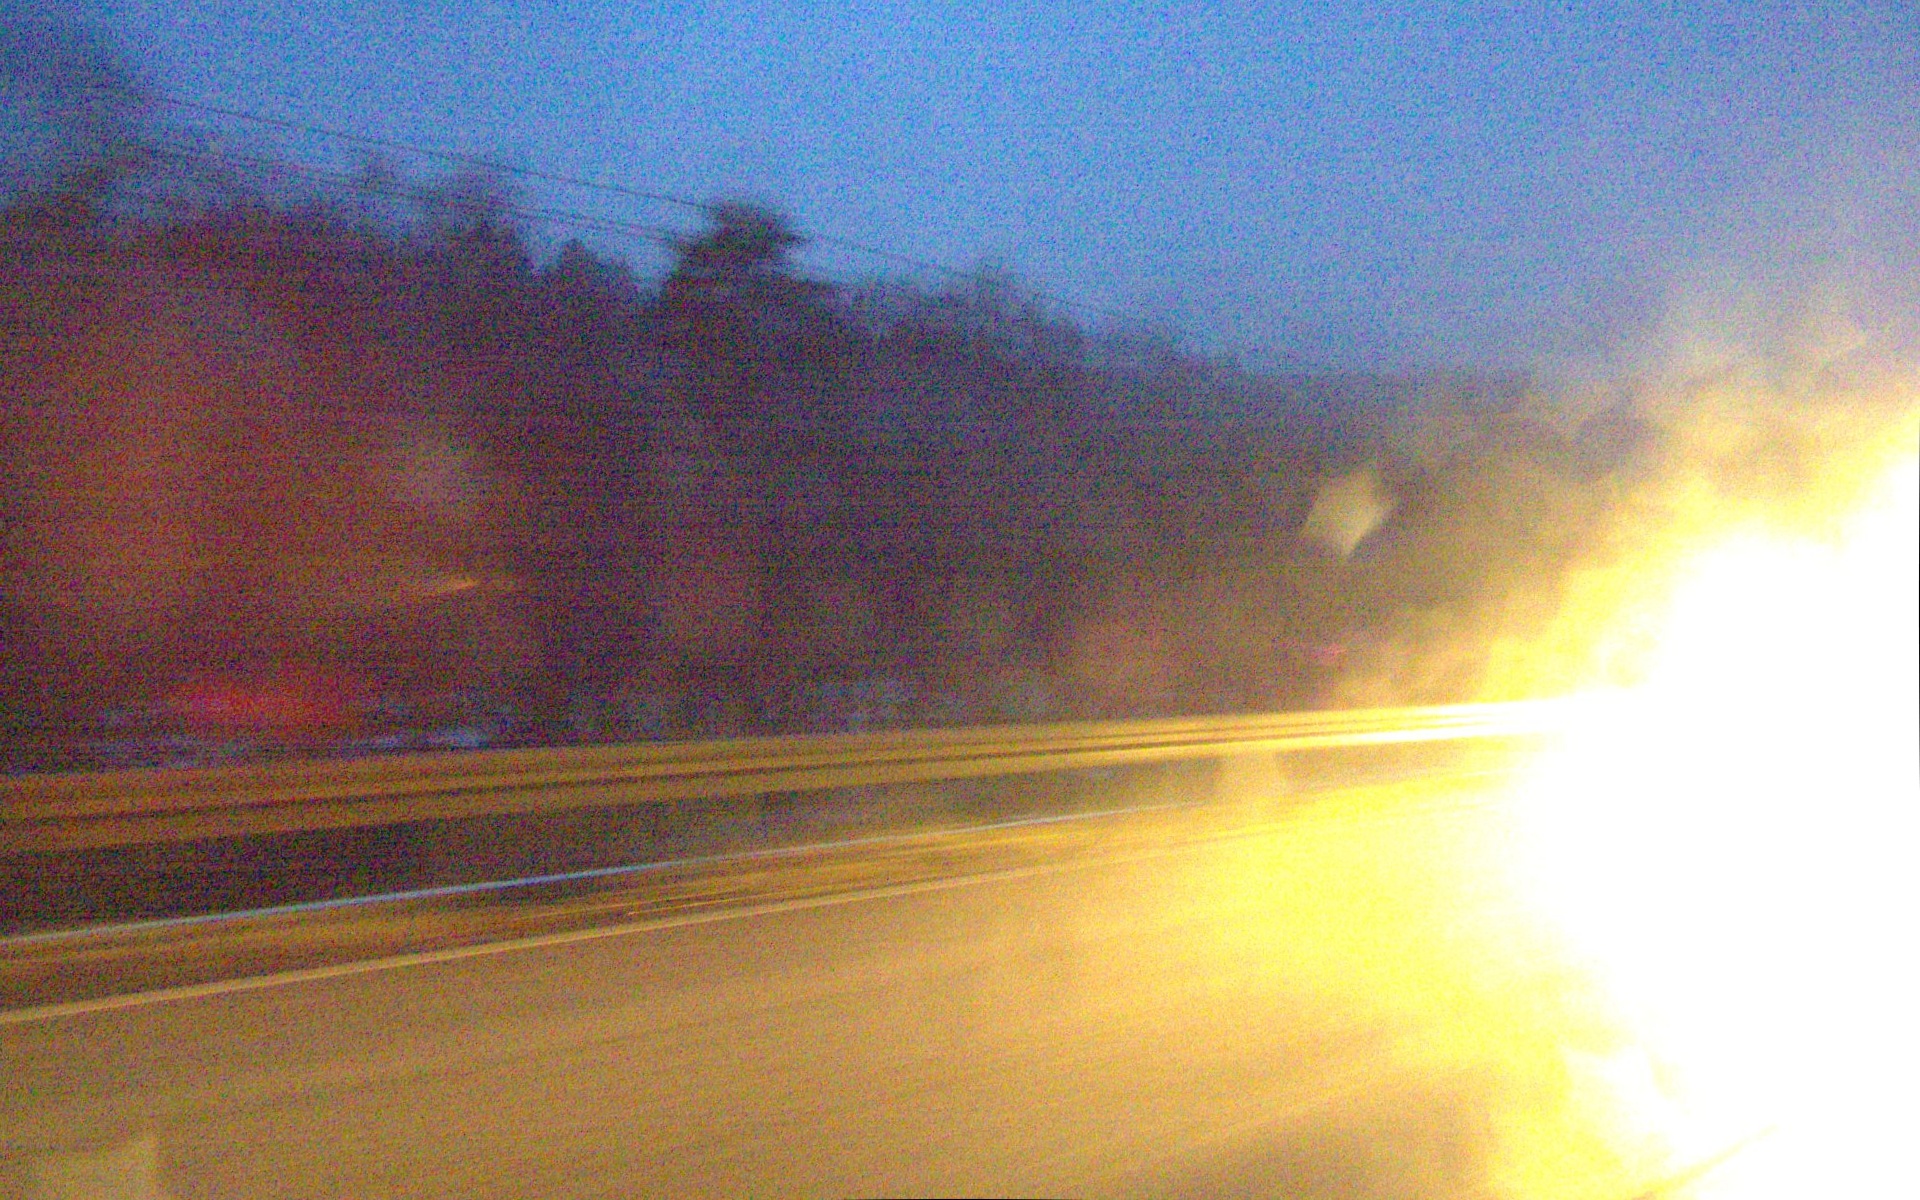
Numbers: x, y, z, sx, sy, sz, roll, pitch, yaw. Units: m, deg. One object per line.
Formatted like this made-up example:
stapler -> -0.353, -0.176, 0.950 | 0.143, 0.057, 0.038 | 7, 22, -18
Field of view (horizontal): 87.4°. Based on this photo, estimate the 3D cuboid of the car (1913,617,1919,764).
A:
car -> 12.622, 0.949, 11.317 | 3.958, 1.608, 1.920 | 0, -1, -34
